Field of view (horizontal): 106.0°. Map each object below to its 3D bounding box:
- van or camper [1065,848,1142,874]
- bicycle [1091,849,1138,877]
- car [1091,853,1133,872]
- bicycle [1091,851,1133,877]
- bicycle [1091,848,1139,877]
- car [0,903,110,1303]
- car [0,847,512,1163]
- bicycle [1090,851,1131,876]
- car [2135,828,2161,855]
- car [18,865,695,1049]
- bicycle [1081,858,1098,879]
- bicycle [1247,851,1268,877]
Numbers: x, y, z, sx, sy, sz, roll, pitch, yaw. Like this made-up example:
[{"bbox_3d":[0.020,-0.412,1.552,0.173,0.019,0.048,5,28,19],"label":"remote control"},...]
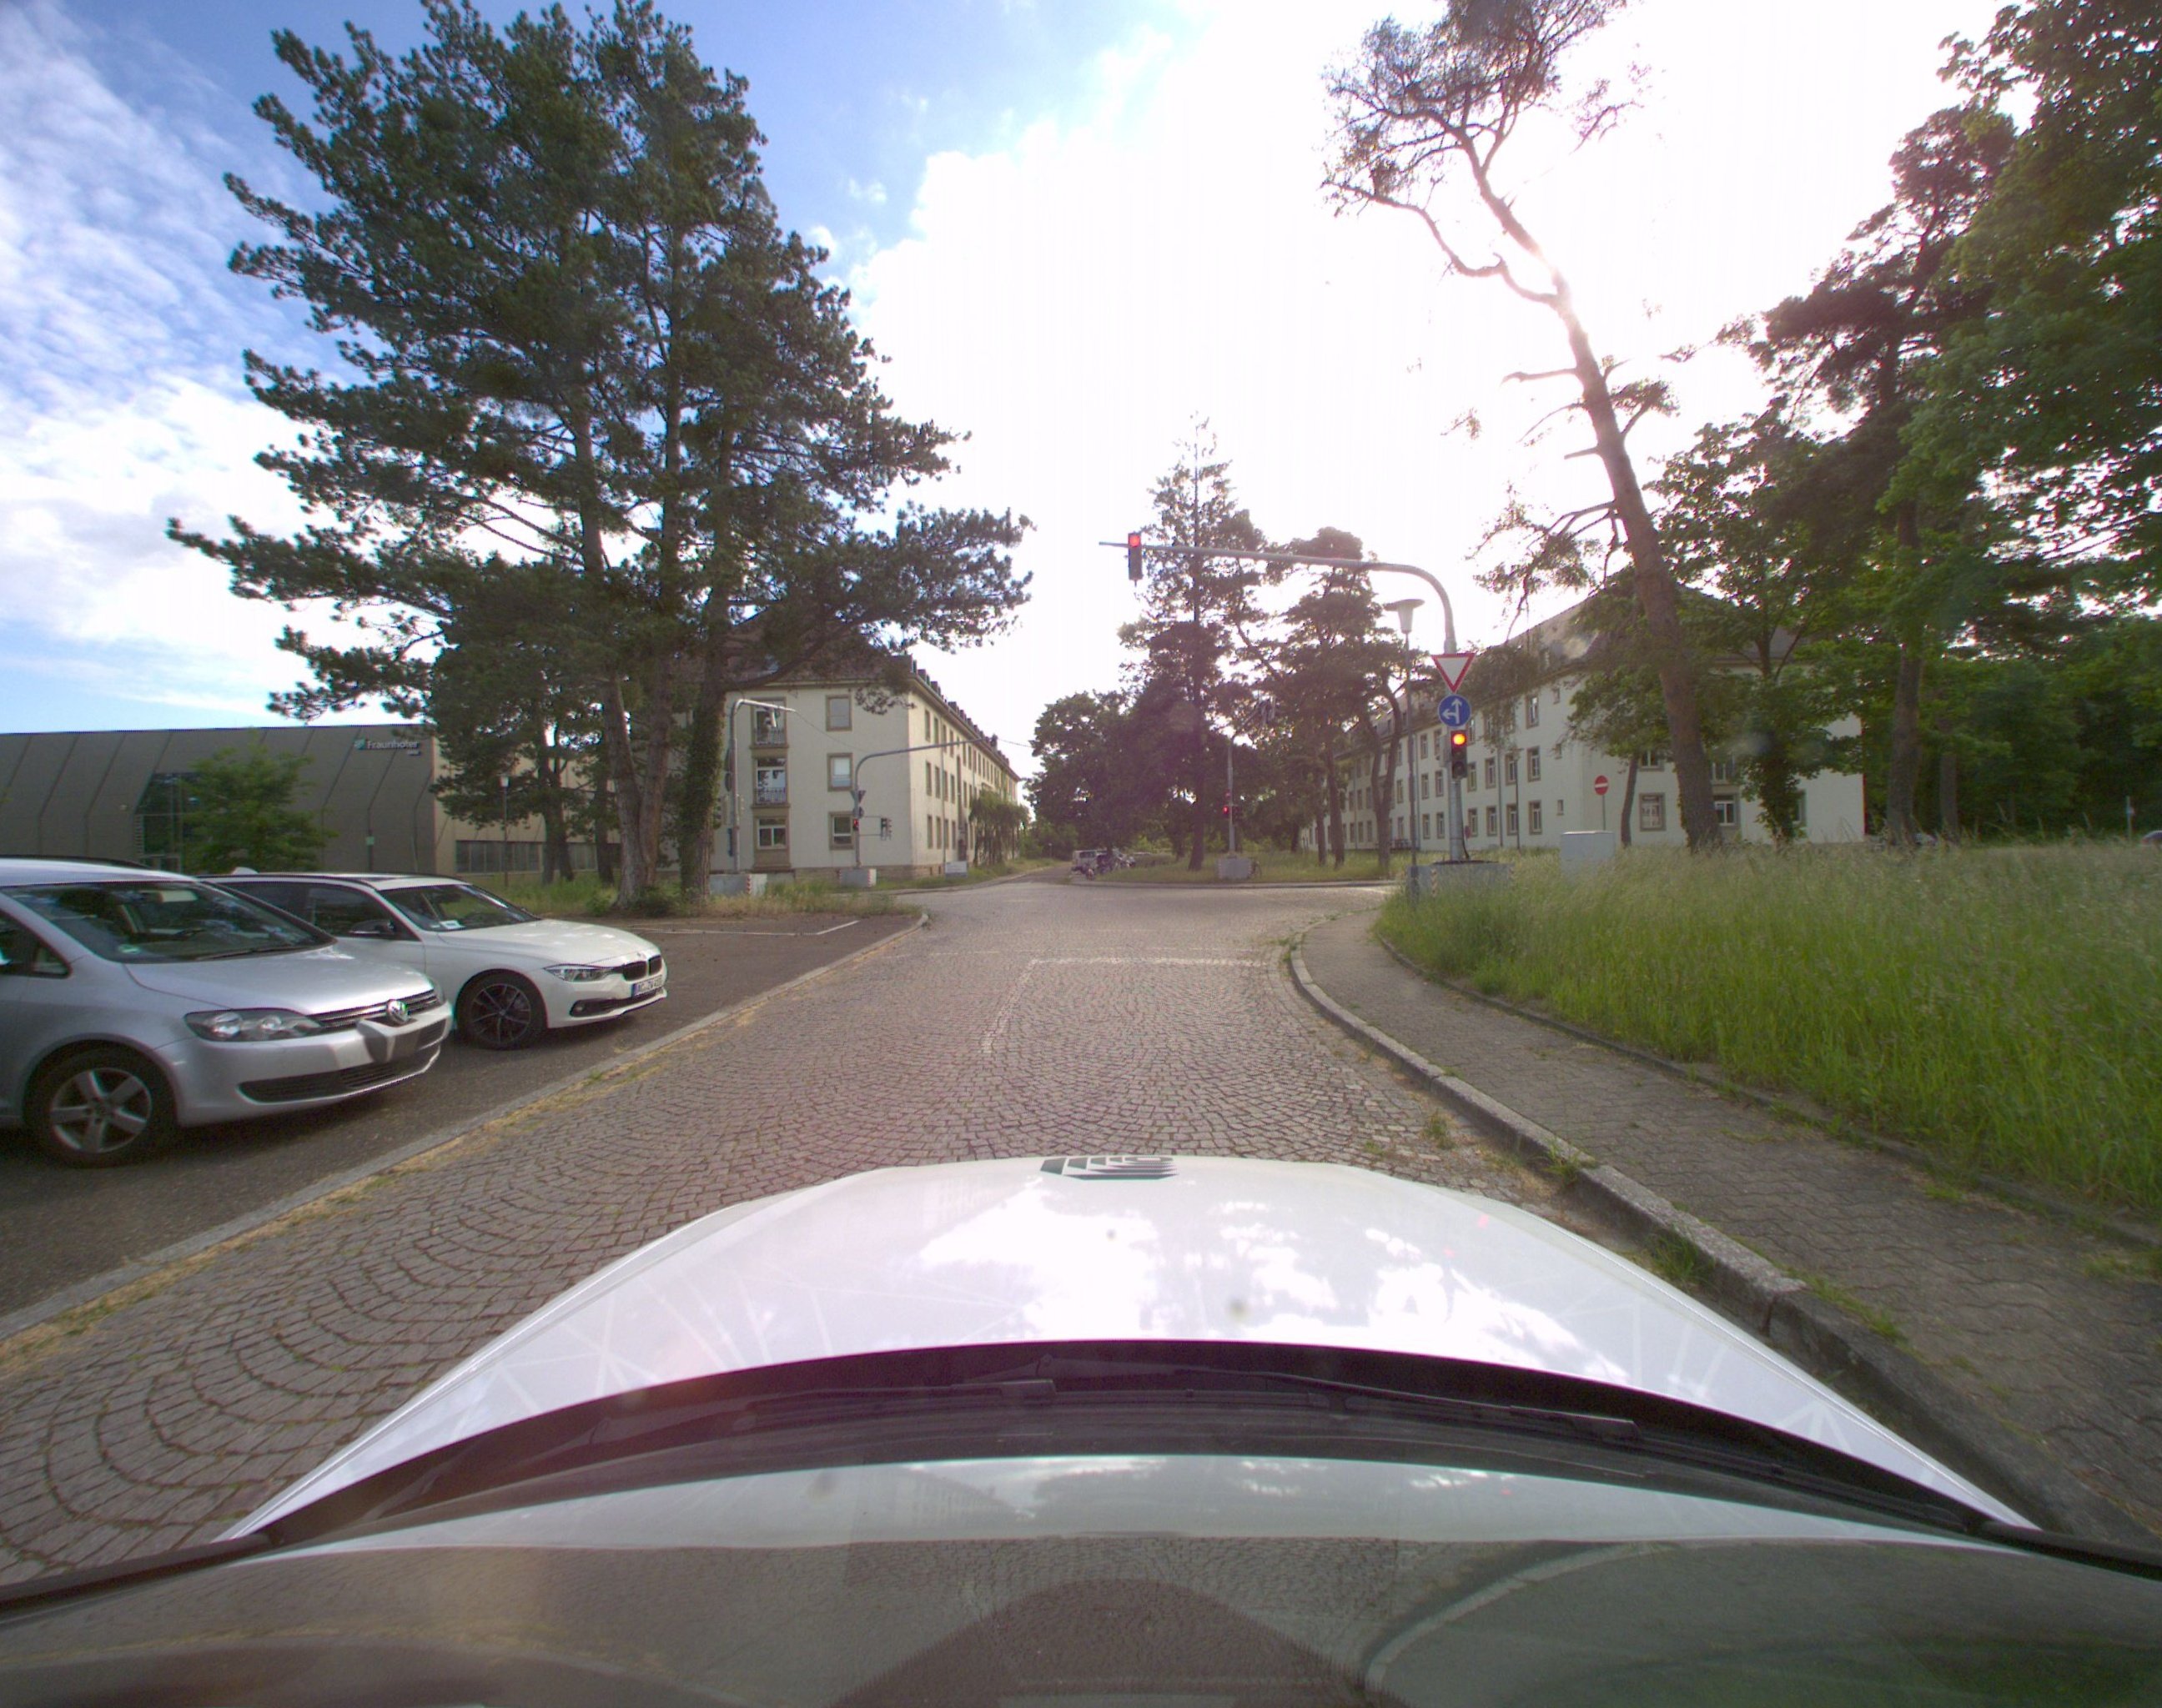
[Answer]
[{"bbox_3d":[1.860,0.559,67.466,6.038,1.948,1.991,-2,0,-13],"label":"van or camper"},{"bbox_3d":[2.054,0.546,50.685,2.772,1.694,1.117,-1,0,-7],"label":"bicycle"},{"bbox_3d":[2.422,0.660,63.883,3.132,1.354,1.617,-1,0,-5],"label":"car"},{"bbox_3d":[2.069,0.647,54.251,2.762,1.694,1.122,1,0,4],"label":"bicycle"},{"bbox_3d":[2.056,0.518,49.491,2.771,1.694,1.118,-2,0,-5],"label":"bicycle"},{"bbox_3d":[-5.771,0.869,2.341,3.824,1.408,1.695,1,0,-1],"label":"car"},{"bbox_3d":[-6.079,0.778,5.035,3.821,1.607,1.734,1,0,-2],"label":"car"},{"bbox_3d":[2.010,0.635,55.590,2.765,1.694,1.121,1,0,2],"label":"bicycle"},{"bbox_3d":[57.983,-0.622,42.471,3.973,1.398,1.563,1,0,0],"label":"car"},{"bbox_3d":[-6.273,0.864,7.542,4.467,1.442,1.828,1,0,-3],"label":"car"},{"bbox_3d":[0.486,0.787,45.221,0.723,1.107,2.463,-6,0,2],"label":"bicycle"},{"bbox_3d":[8.162,0.458,37.644,0.720,1.169,2.742,0,0,7],"label":"bicycle"}]
